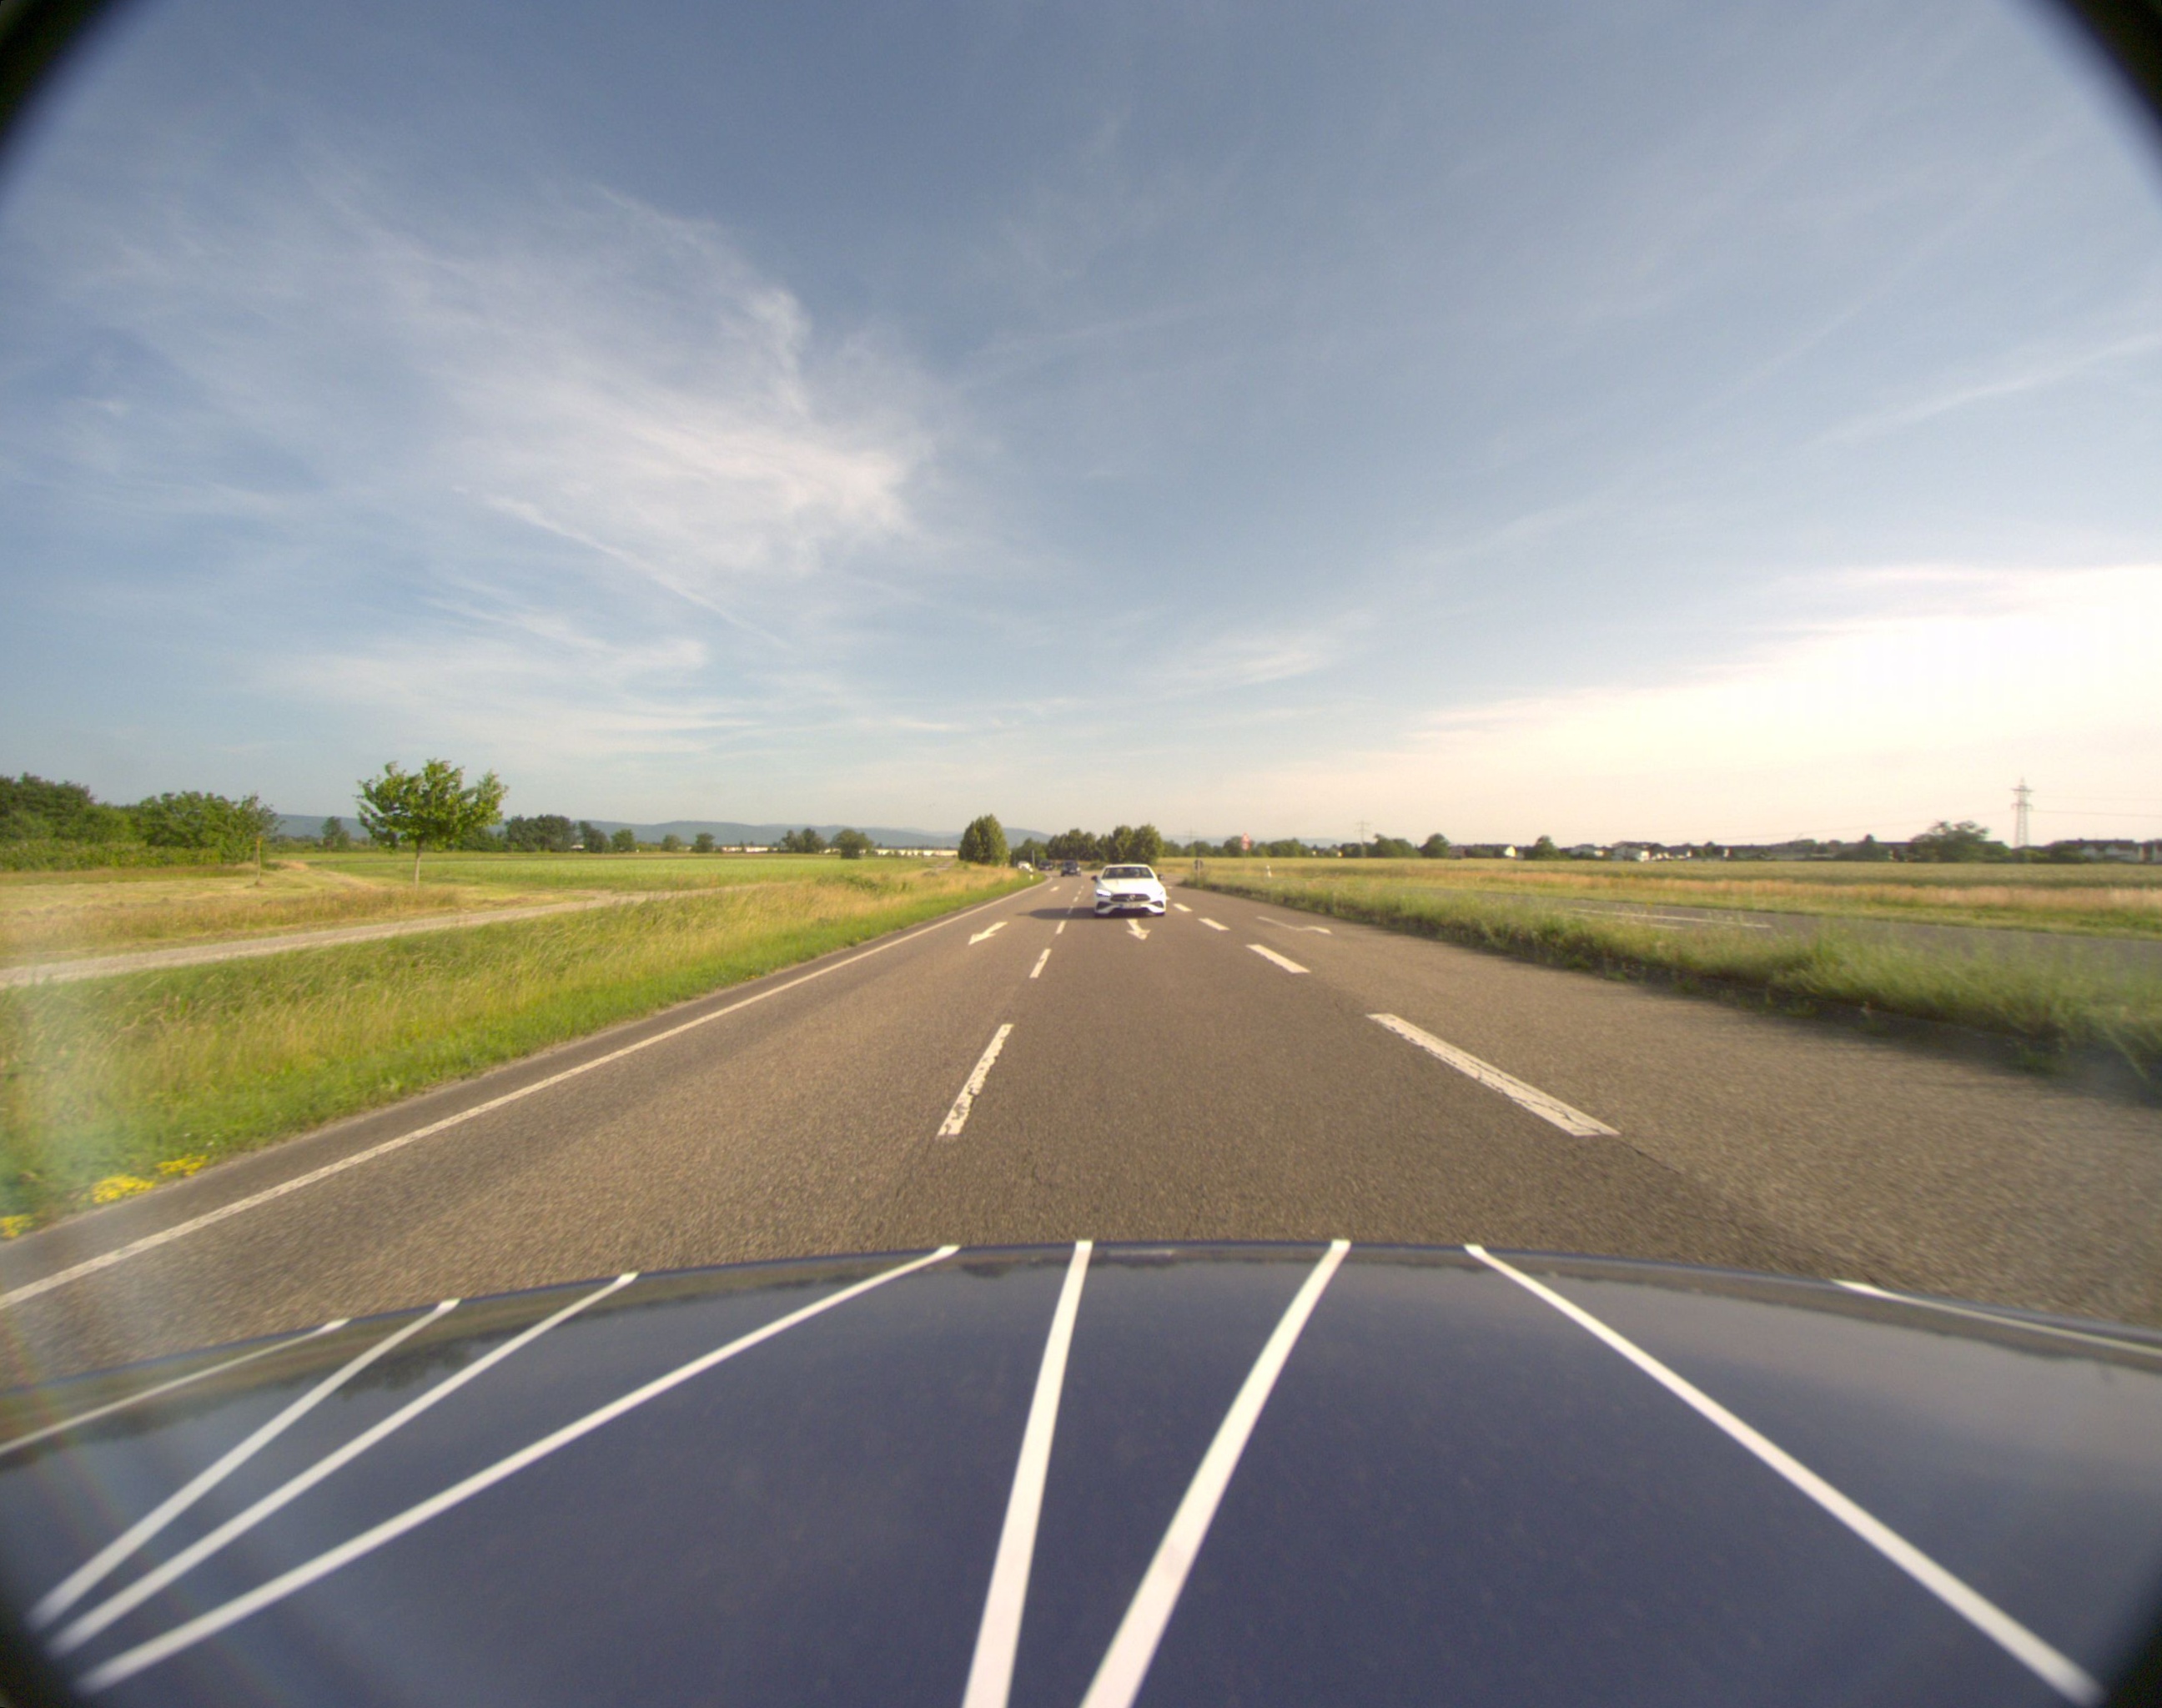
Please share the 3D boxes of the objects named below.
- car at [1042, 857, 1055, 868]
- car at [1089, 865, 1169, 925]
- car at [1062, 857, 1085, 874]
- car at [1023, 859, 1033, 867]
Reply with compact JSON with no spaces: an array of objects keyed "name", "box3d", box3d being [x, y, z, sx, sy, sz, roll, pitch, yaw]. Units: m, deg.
[{"name":"car","box3d":[-4.833,1.264,111.793,1.558,1.550,3.046,-1,0,-9]},{"name":"car","box3d":[1.345,1.048,20.918,1.940,1.389,3.920,-2,0,4]},{"name":"car","box3d":[-0.752,1.094,71.809,1.586,1.496,3.658,-1,0,-9]},{"name":"car","box3d":[-10.071,1.712,144.793,1.558,1.391,4.032,-1,0,-9]}]
